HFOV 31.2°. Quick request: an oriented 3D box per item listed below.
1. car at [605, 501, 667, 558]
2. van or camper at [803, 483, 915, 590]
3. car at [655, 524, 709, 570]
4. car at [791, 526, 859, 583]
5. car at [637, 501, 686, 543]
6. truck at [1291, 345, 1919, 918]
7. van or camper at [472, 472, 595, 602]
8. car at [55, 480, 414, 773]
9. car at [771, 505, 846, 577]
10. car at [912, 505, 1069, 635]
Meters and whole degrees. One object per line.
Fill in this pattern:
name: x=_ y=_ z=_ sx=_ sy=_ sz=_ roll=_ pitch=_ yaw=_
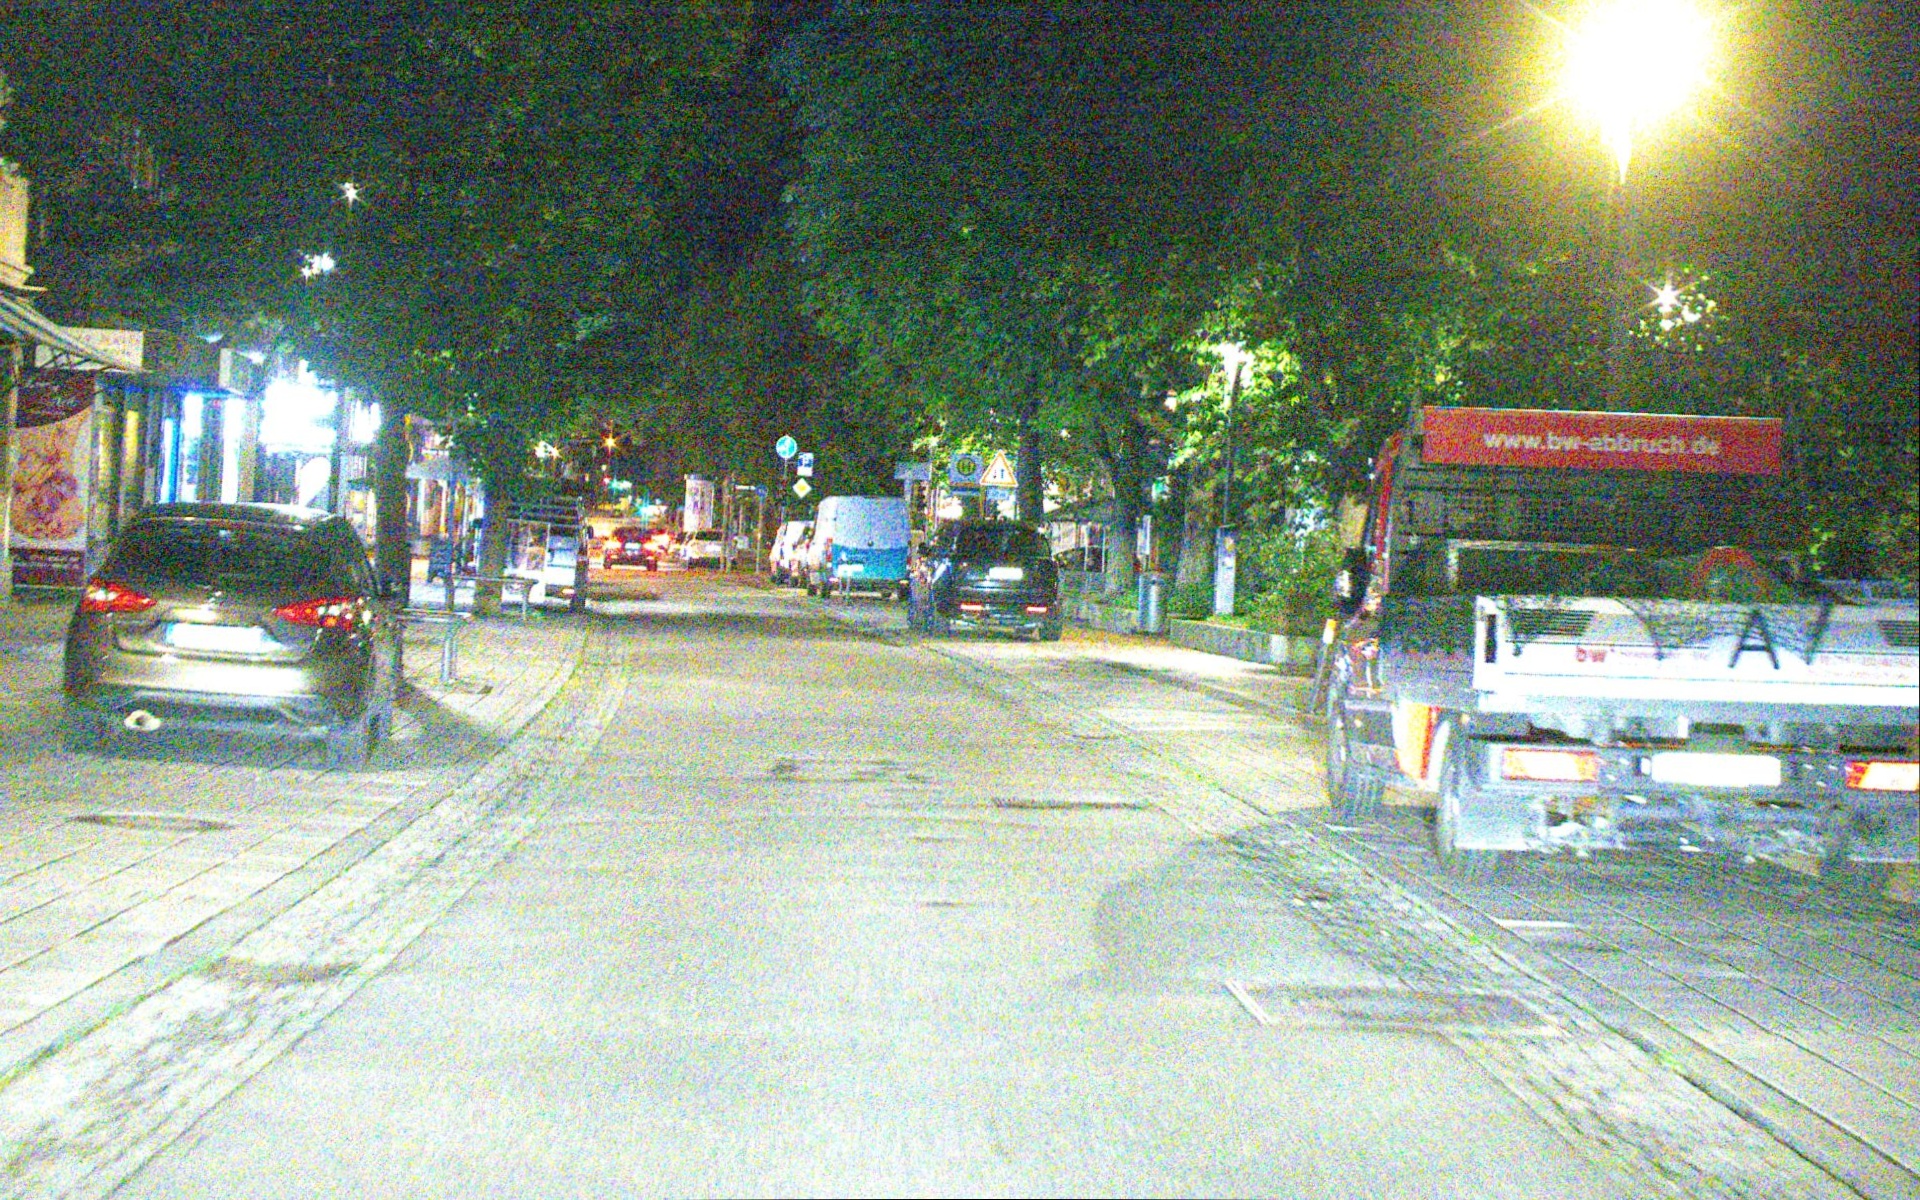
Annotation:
car: x=-11.323 y=-2.462 z=119.928 sx=1.993 sy=1.817 sz=4.001 roll=3 pitch=1 yaw=-6
van or camper: x=-2.342 y=-1.469 z=78.473 sx=2.108 sy=2.309 sz=4.263 roll=2 pitch=1 yaw=-7
car: x=-10.067 y=-1.921 z=124.373 sx=1.839 sy=1.537 sz=3.846 roll=3 pitch=1 yaw=-5
car: x=-3.602 y=-1.226 z=91.175 sx=1.531 sy=1.413 sz=3.846 roll=3 pitch=1 yaw=-5
car: x=-13.619 y=-3.551 z=156.494 sx=1.993 sy=1.817 sz=4.001 roll=3 pitch=1 yaw=-7
truck: x=3.194 y=0.082 z=17.202 sx=2.336 sy=2.304 sz=5.781 roll=2 pitch=1 yaw=-1
van or camper: x=-7.336 y=-1.100 z=59.147 sx=1.866 sy=2.004 sz=4.263 roll=4 pitch=1 yaw=-7
car: x=-4.413 y=0.104 z=21.444 sx=1.673 sy=1.538 sz=4.231 roll=4 pitch=1 yaw=-6
car: x=-4.320 y=-1.681 z=97.282 sx=1.839 sy=1.894 sz=3.846 roll=3 pitch=1 yaw=-5
car: x=0.424 y=-0.495 z=52.517 sx=1.814 sy=1.822 sz=4.348 roll=3 pitch=1 yaw=-6
